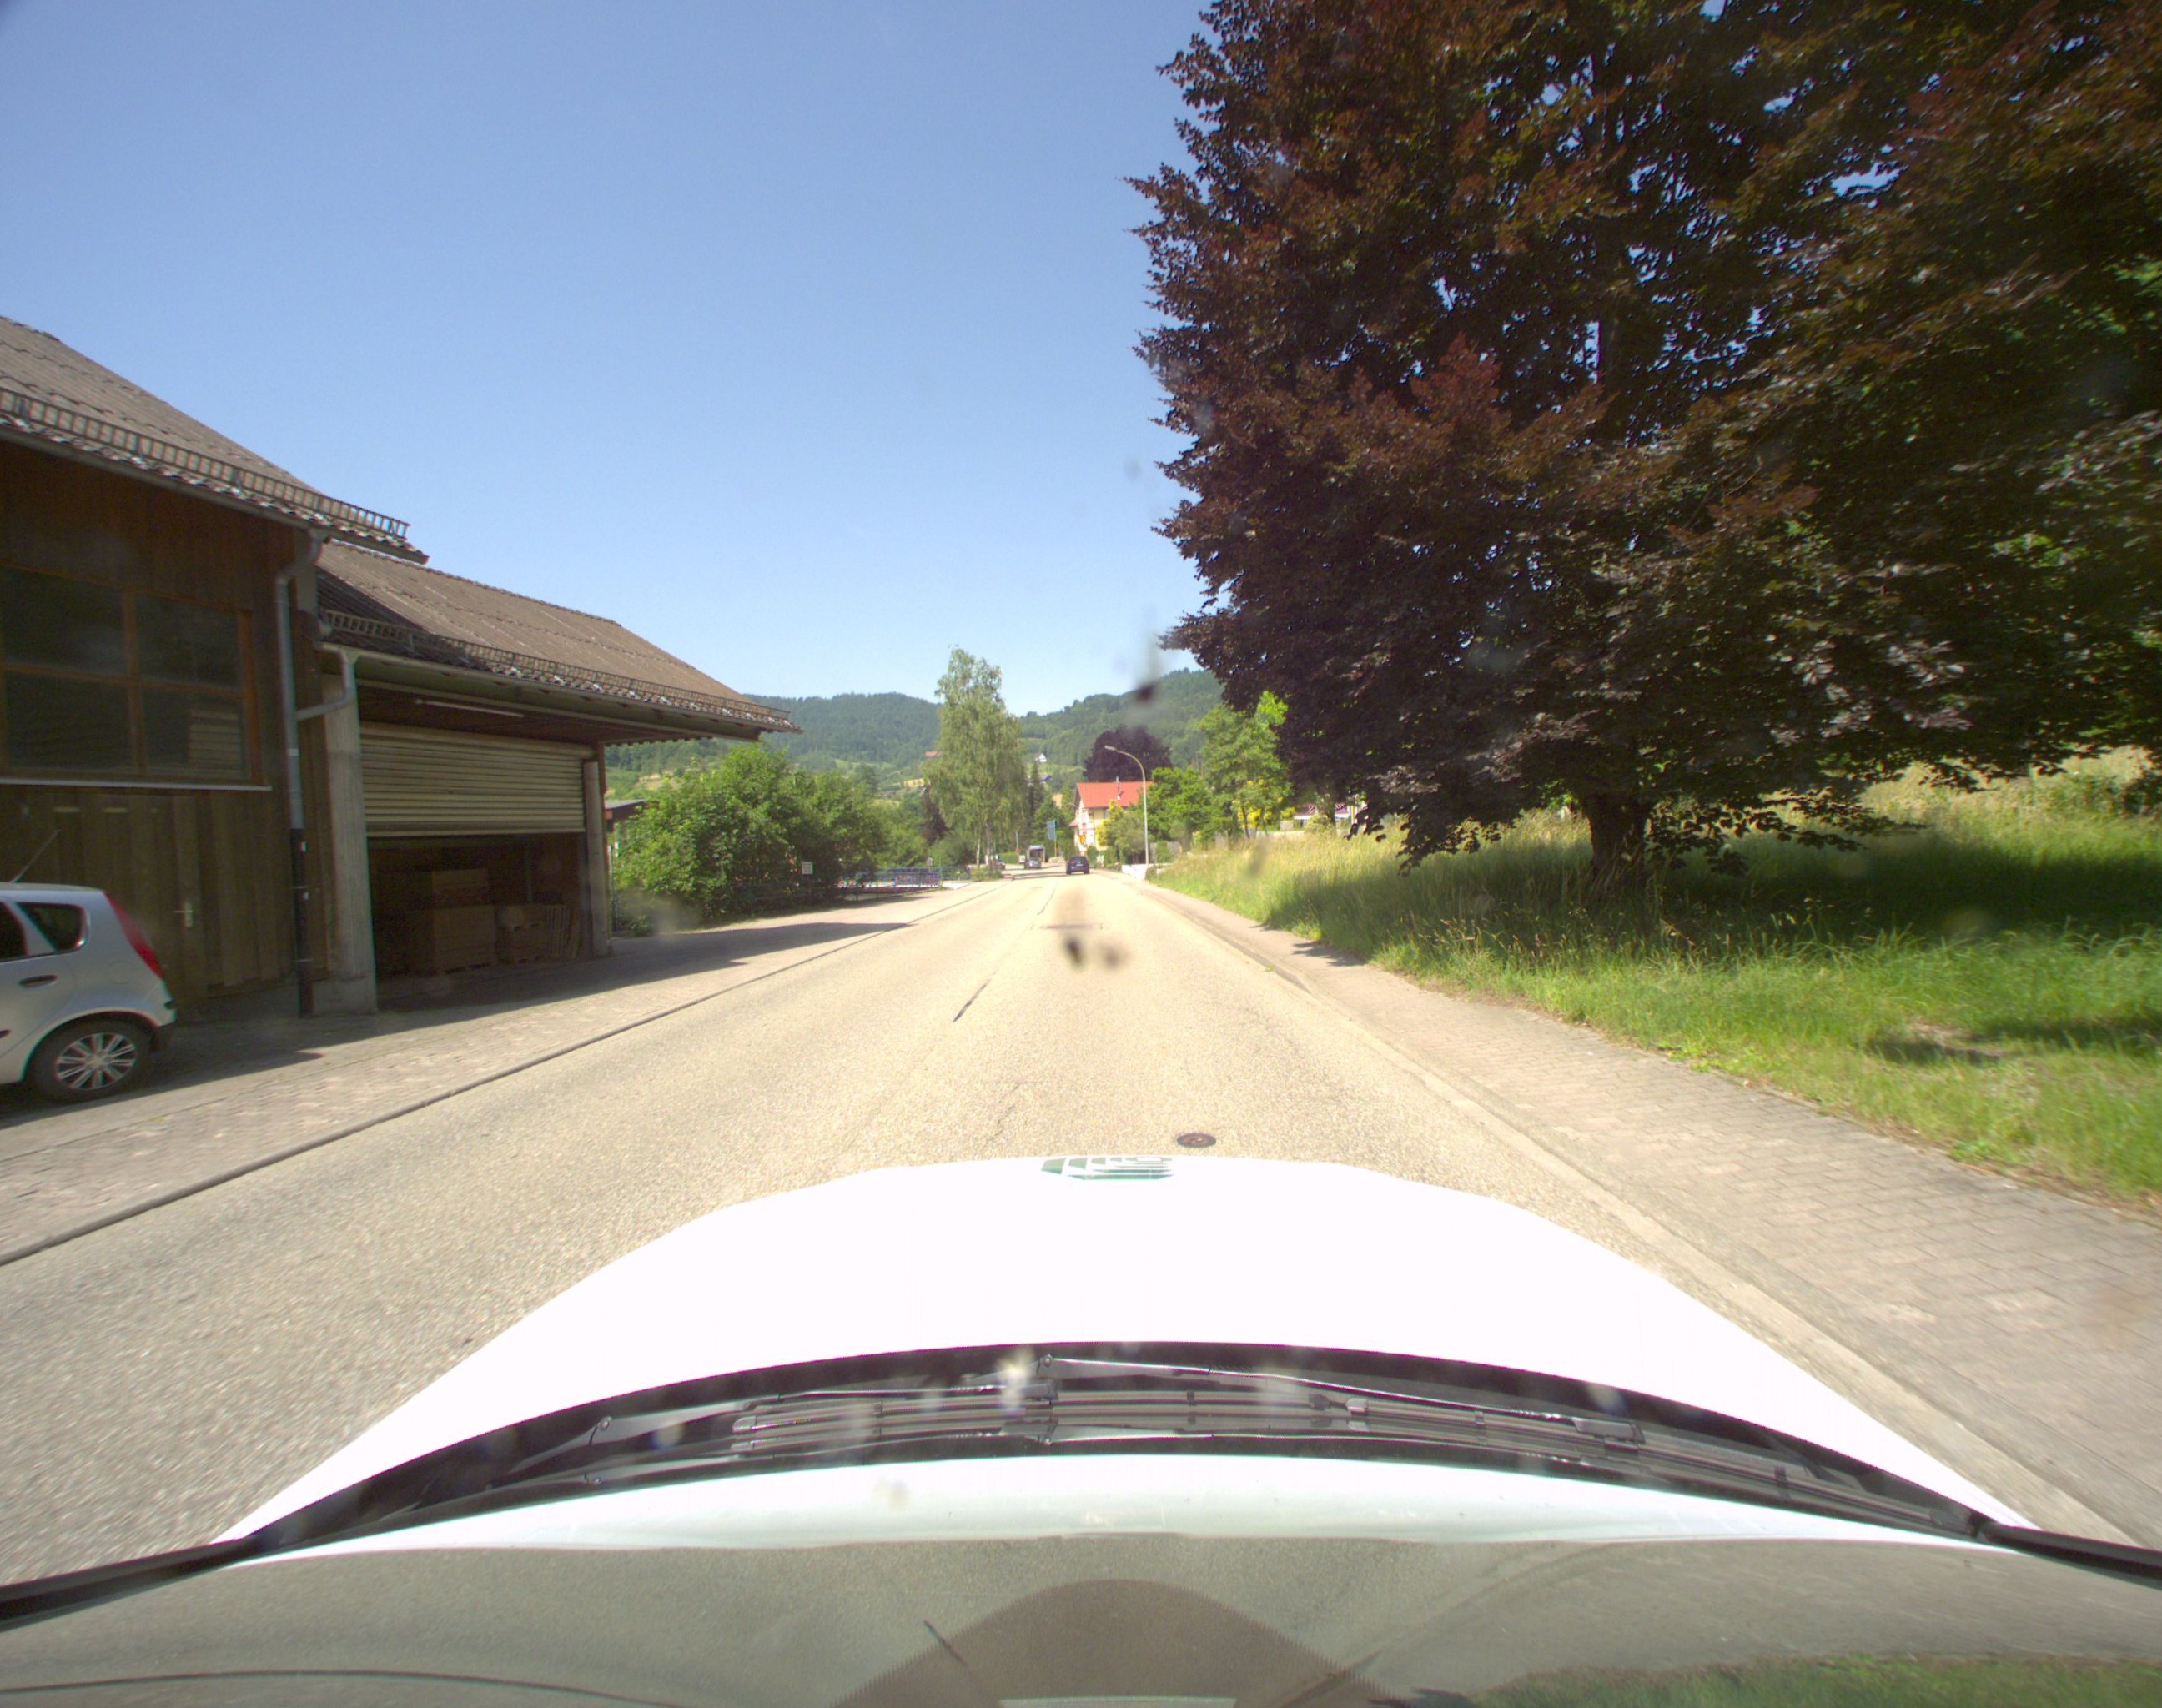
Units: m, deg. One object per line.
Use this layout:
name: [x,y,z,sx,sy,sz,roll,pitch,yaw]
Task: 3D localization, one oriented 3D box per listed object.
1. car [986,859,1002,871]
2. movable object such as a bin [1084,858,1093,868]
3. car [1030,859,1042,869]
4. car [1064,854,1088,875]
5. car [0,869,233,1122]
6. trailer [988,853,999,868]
car: [-12.106,1.511,113.150,1.813,1.500,4.136,-3,0,-9]
movable object such as a bin: [0.846,0.951,87.730,0.809,1.042,0.577,-3,0,-9]
car: [-5.760,1.256,104.517,1.473,1.209,2.383,-3,0,-1]
car: [-0.469,0.939,72.260,1.915,1.698,3.784,-3,0,-3]
car: [-7.982,0.952,4.674,1.569,1.570,4.040,1,1,15]
trailer: [-12.635,0.947,117.324,1.465,2.077,3.661,-3,0,-7]
